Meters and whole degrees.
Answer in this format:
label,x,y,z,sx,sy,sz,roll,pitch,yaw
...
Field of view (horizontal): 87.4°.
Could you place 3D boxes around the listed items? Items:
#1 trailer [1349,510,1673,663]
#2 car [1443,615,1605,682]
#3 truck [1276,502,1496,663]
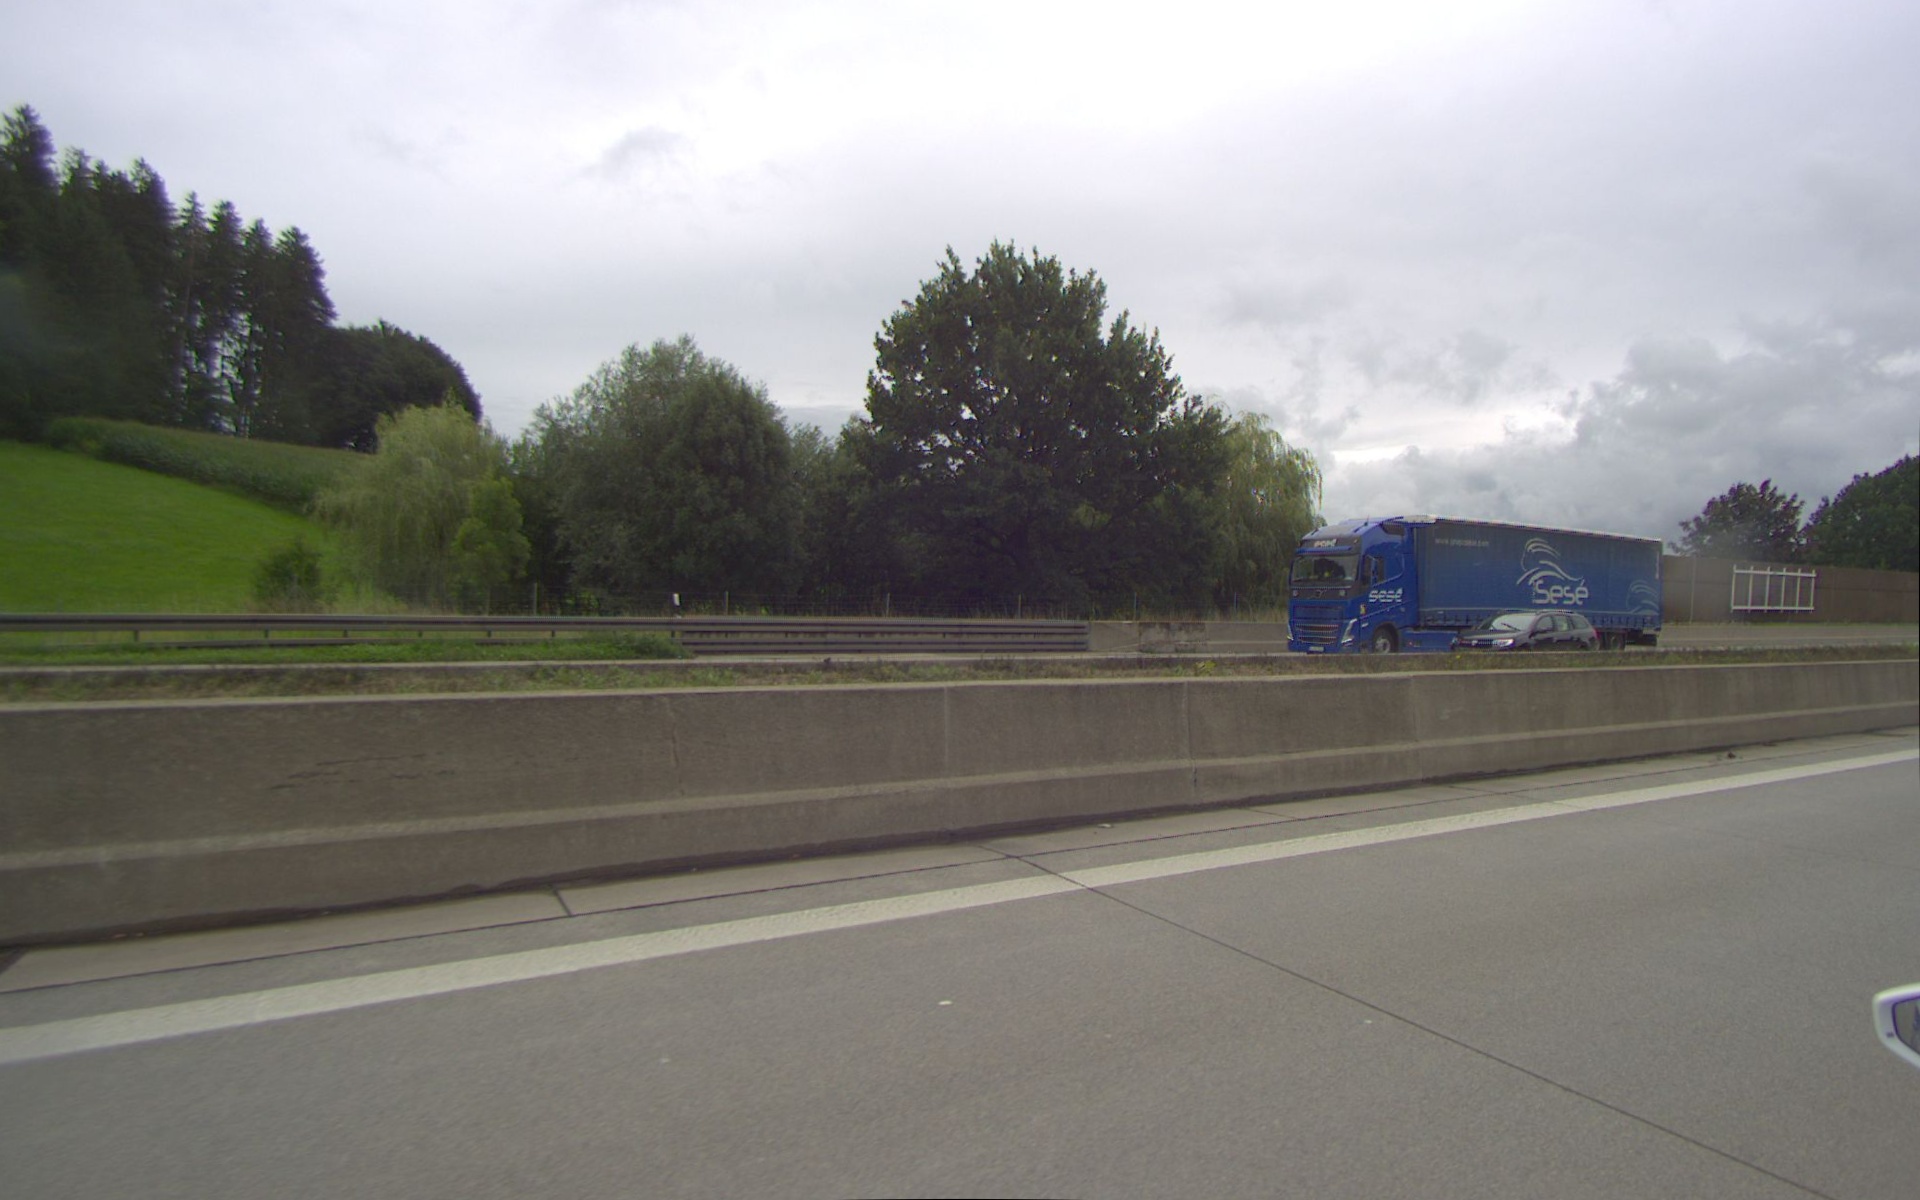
label,x,y,z,sx,sy,sz,roll,pitch,yaw
trailer,18.304,-0.342,32.663,13.634,4.265,2.696,0,1,-31
car,14.320,1.197,25.417,4.468,1.520,1.627,1,1,-32
truck,12.375,-0.424,29.093,6.138,4.244,2.678,1,1,-31
